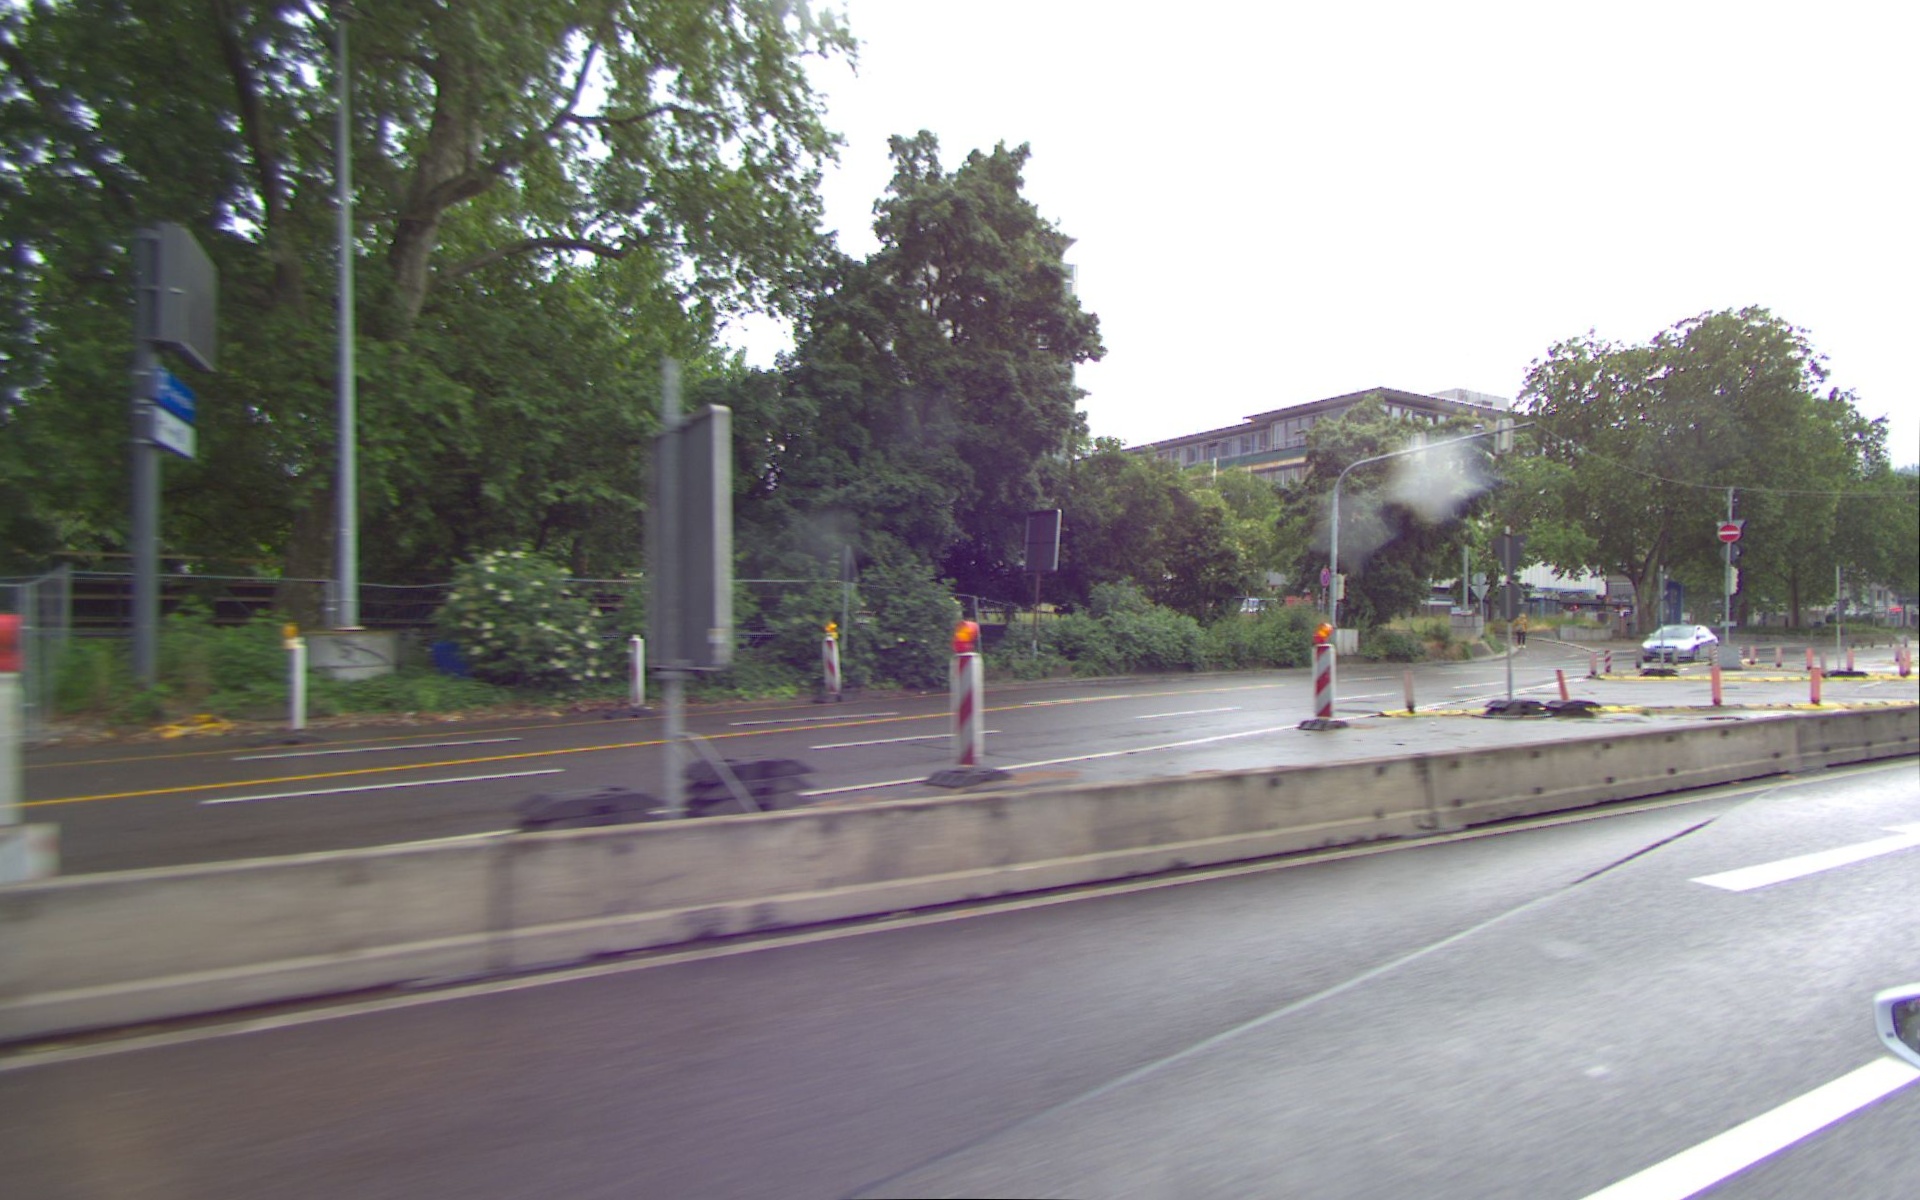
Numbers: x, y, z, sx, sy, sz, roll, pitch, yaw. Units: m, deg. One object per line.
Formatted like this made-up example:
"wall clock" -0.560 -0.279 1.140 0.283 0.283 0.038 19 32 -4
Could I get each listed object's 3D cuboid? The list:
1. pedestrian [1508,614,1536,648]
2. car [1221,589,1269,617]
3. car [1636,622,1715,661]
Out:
"pedestrian" 27.152 1.514 48.525 1.096 1.577 0.587 3 -3 -19
"car" 18.411 0.244 64.831 1.876 1.547 3.996 0 -4 33
"car" 28.780 1.681 40.356 4.147 1.482 1.749 2 -4 -43
